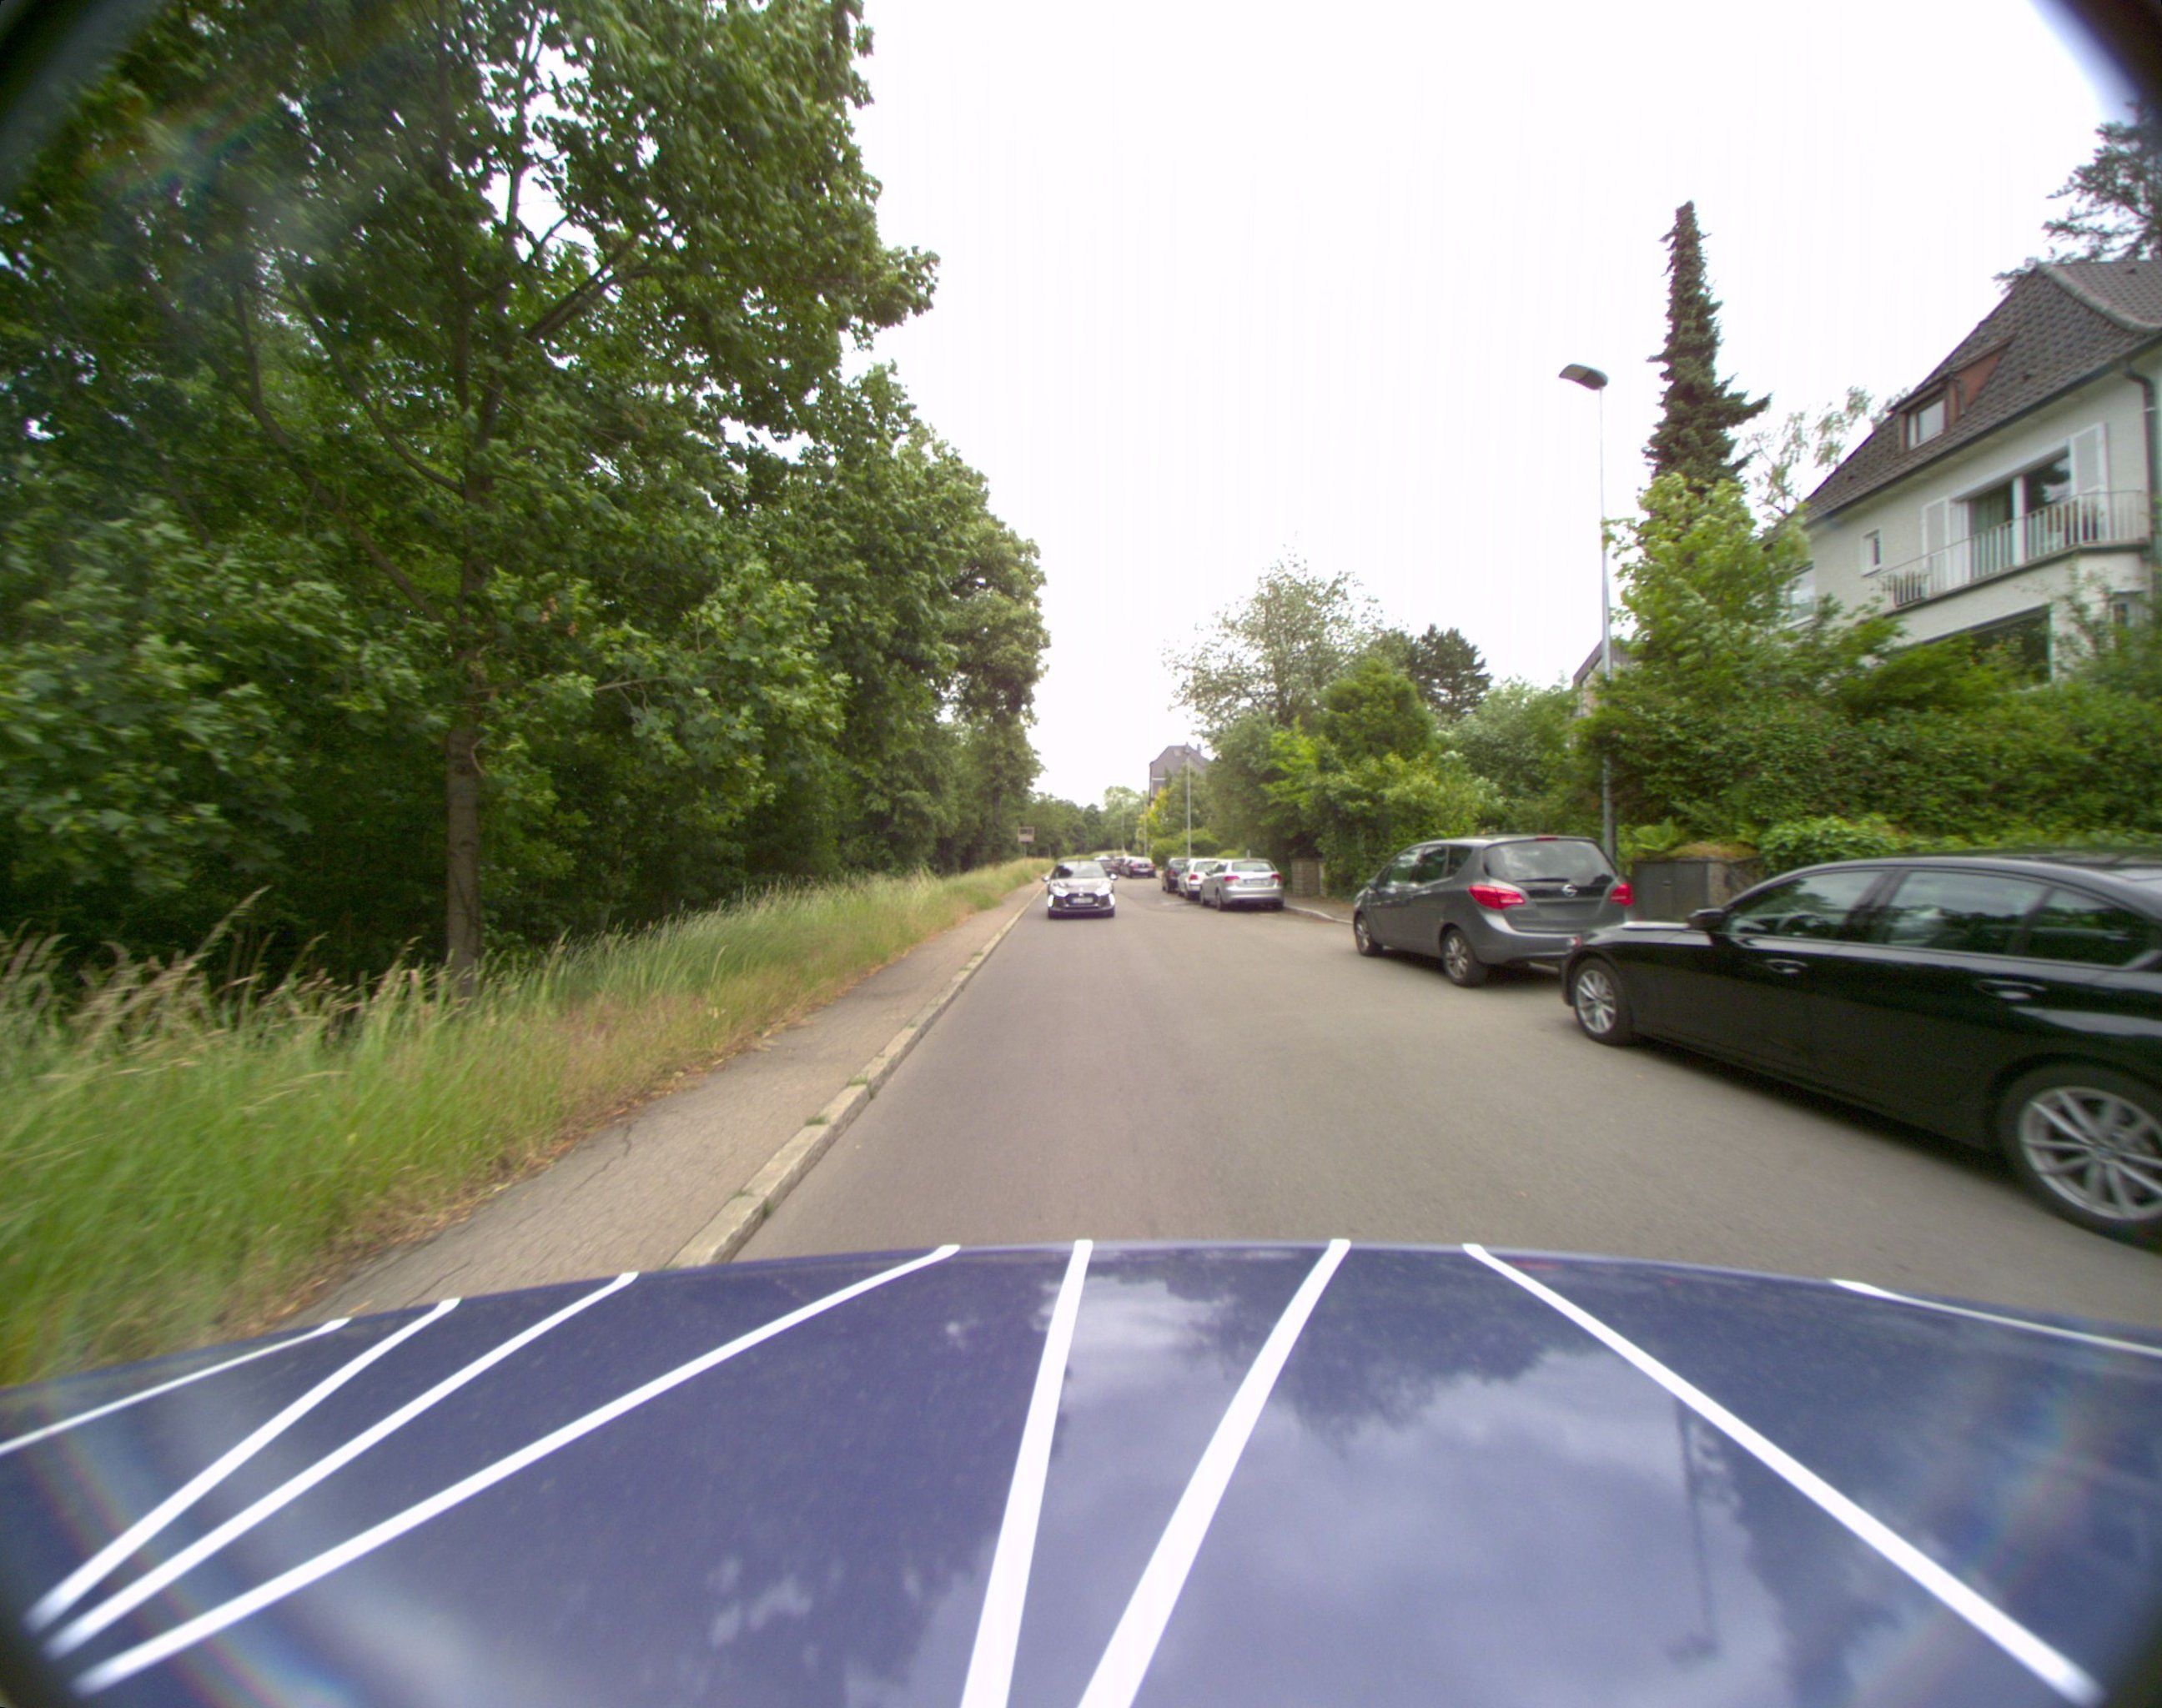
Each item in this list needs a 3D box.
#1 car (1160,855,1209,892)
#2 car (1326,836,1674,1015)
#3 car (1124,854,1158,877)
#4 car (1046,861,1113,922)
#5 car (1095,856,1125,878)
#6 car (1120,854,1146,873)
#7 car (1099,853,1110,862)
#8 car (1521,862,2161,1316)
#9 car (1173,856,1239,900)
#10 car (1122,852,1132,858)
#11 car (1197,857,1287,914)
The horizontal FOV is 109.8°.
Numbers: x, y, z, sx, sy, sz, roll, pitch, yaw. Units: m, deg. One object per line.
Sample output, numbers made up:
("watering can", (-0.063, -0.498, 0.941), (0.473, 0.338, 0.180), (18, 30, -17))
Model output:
("car", (4.328, 0.769, 32.215), (1.627, 1.441, 3.969), (-1, 0, 1))
("car", (4.716, 0.671, 9.489), (1.735, 1.623, 4.568), (-2, 0, -1))
("car", (4.101, 0.773, 52.434), (1.783, 1.423, 5.104), (-1, 0, -1))
("car", (0.046, 0.938, 20.462), (1.619, 1.460, 4.001), (0, -1, 3))
("car", (1.951, 0.869, 52.123), (1.785, 1.417, 4.488), (-1, 0, -1))
("car", (4.001, 0.732, 58.921), (1.628, 1.423, 4.350), (0, 0, -1))
("car", (3.792, 0.555, 120.930), (1.646, 1.461, 4.071), (1, 0, 2))
("car", (4.573, 0.821, 4.041), (1.758, 1.404, 4.898), (-2, 0, 2))
("car", (4.426, 0.802, 27.496), (1.664, 1.444, 4.381), (-1, 0, 0))
("car", (10.479, 0.259, 172.479), (1.735, 1.420, 3.460), (0, 1, 11))
("car", (4.487, 0.823, 21.736), (1.627, 1.441, 4.092), (-1, 0, -1))
